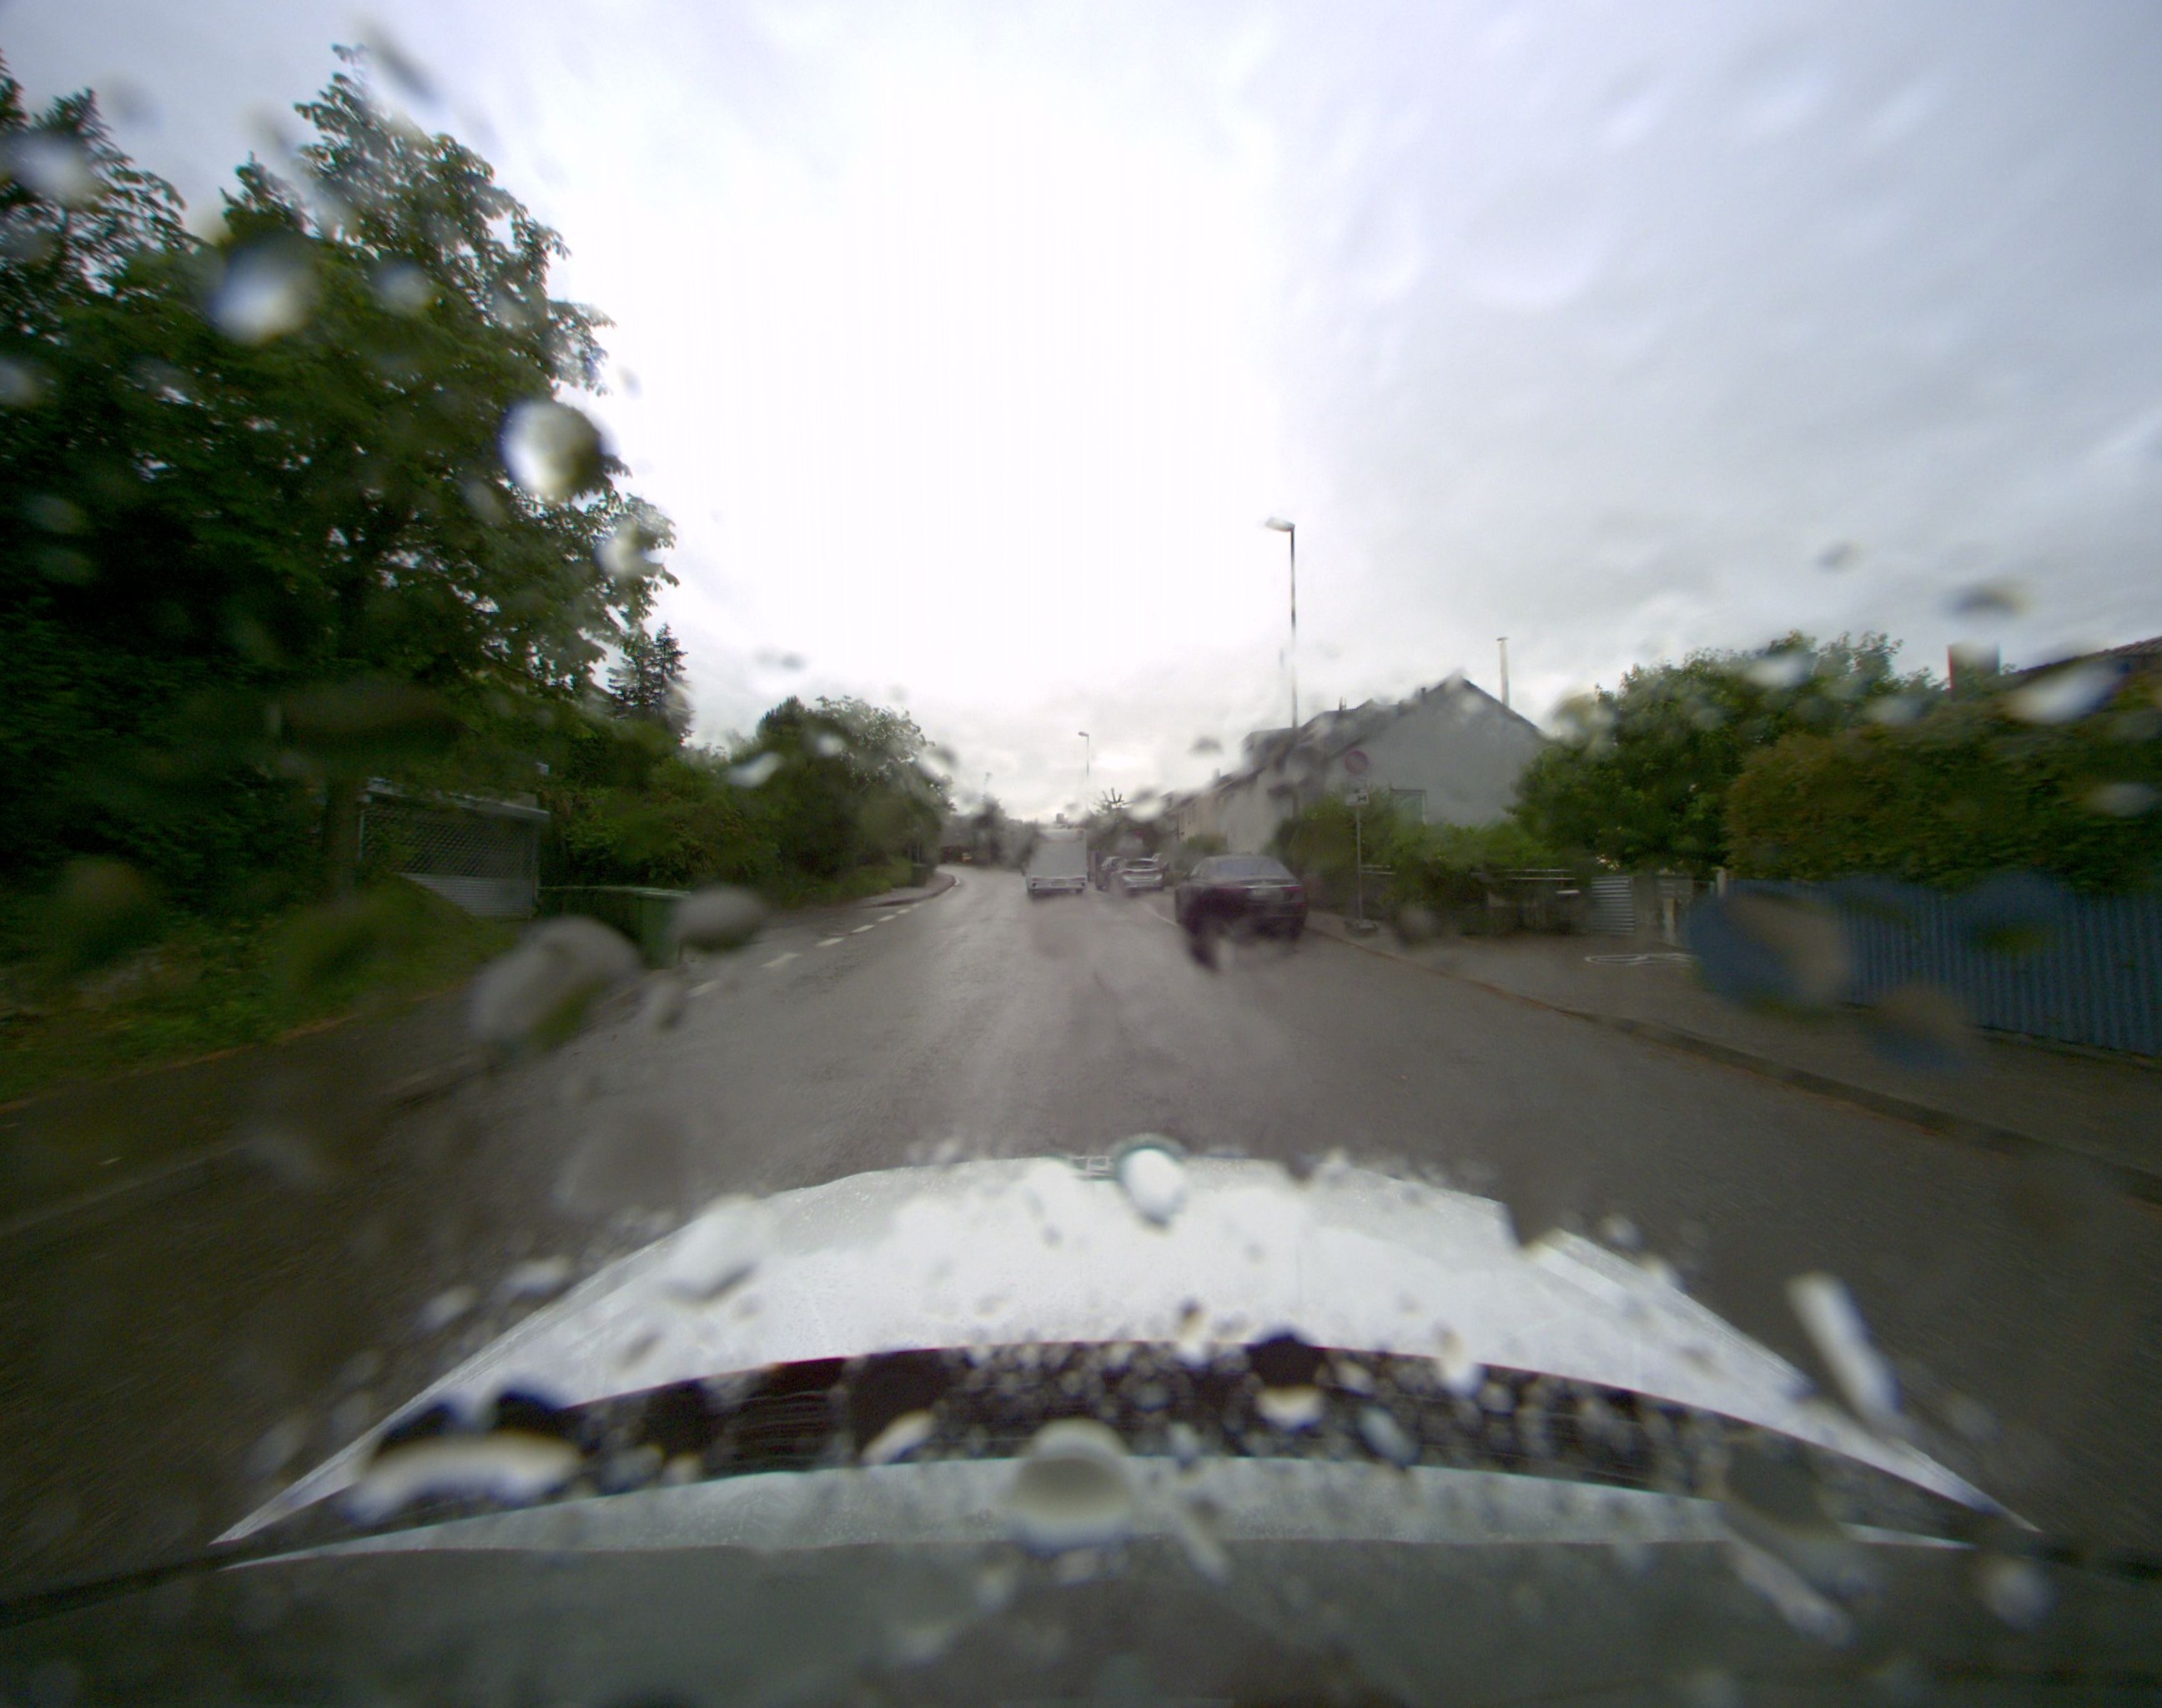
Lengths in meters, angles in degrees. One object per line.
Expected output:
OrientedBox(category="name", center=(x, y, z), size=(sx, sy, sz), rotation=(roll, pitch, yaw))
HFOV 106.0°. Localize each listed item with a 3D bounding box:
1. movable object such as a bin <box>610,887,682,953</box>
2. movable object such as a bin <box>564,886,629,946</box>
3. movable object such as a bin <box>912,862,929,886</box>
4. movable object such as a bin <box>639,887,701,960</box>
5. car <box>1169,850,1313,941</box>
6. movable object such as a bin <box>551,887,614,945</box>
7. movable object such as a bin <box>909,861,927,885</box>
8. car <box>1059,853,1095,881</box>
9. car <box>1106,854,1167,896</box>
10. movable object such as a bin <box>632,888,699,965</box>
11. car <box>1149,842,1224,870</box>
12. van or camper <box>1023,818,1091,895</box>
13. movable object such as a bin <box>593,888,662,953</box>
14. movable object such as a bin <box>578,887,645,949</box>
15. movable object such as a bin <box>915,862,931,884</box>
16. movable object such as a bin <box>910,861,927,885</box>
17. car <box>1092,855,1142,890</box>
OrientedBox(category="movable object such as a bin", center=(-7.116, 1.061, 13.327), size=(0.710, 1.028, 0.785), rotation=(0, -2, 41))
OrientedBox(category="movable object such as a bin", center=(-8.782, 1.100, 14.766), size=(0.710, 1.028, 0.785), rotation=(0, -2, 41))
OrientedBox(category="movable object such as a bin", center=(-7.743, 0.961, 39.233), size=(0.769, 1.096, 0.669), rotation=(-1, 0, -12))
OrientedBox(category="movable object such as a bin", center=(-6.171, 1.030, 12.248), size=(0.782, 1.028, 0.713), rotation=(3, -2, -27))
OrientedBox(category="car", center=(3.087, 0.721, 16.812), size=(1.852, 1.527, 5.061), rotation=(-2, 0, -1))
OrientedBox(category="movable object such as a bin", center=(-9.323, 1.138, 15.245), size=(0.710, 1.028, 0.785), rotation=(0, -2, 41))
OrientedBox(category="movable object such as a bin", center=(-7.538, 0.875, 37.670), size=(0.769, 1.096, 0.735), rotation=(-1, 0, -12))
OrientedBox(category="car", center=(-0.295, 0.790, 52.286), size=(1.802, 1.626, 4.278), rotation=(-2, 0, -6))
OrientedBox(category="car", center=(2.133, 0.785, 32.468), size=(1.766, 1.467, 4.227), rotation=(-2, 0, -5))
OrientedBox(category="movable object such as a bin", center=(-5.889, 1.017, 11.567), size=(0.782, 1.028, 0.713), rotation=(2, -2, -27))
OrientedBox(category="car", center=(6.029, 0.138, 46.963), size=(3.980, 1.590, 1.931), rotation=(0, -2, -5))
OrientedBox(category="van or camper", center=(-1.138, 0.102, 34.197), size=(2.536, 2.925, 5.937), rotation=(0, -1, -5))
OrientedBox(category="movable object such as a bin", center=(-7.677, 1.112, 13.805), size=(0.710, 1.028, 0.785), rotation=(0, -2, 41))
OrientedBox(category="movable object such as a bin", center=(-8.225, 1.105, 14.281), size=(0.710, 1.028, 0.785), rotation=(0, -2, 41))
OrientedBox(category="movable object such as a bin", center=(-7.760, 0.917, 39.964), size=(0.769, 1.068, 0.688), rotation=(-1, 0, -12))
OrientedBox(category="movable object such as a bin", center=(-7.654, 0.909, 38.436), size=(0.769, 1.096, 0.735), rotation=(-1, 0, -12))
OrientedBox(category="car", center=(1.618, 0.817, 37.761), size=(1.658, 1.467, 3.753), rotation=(-2, 0, -8))
